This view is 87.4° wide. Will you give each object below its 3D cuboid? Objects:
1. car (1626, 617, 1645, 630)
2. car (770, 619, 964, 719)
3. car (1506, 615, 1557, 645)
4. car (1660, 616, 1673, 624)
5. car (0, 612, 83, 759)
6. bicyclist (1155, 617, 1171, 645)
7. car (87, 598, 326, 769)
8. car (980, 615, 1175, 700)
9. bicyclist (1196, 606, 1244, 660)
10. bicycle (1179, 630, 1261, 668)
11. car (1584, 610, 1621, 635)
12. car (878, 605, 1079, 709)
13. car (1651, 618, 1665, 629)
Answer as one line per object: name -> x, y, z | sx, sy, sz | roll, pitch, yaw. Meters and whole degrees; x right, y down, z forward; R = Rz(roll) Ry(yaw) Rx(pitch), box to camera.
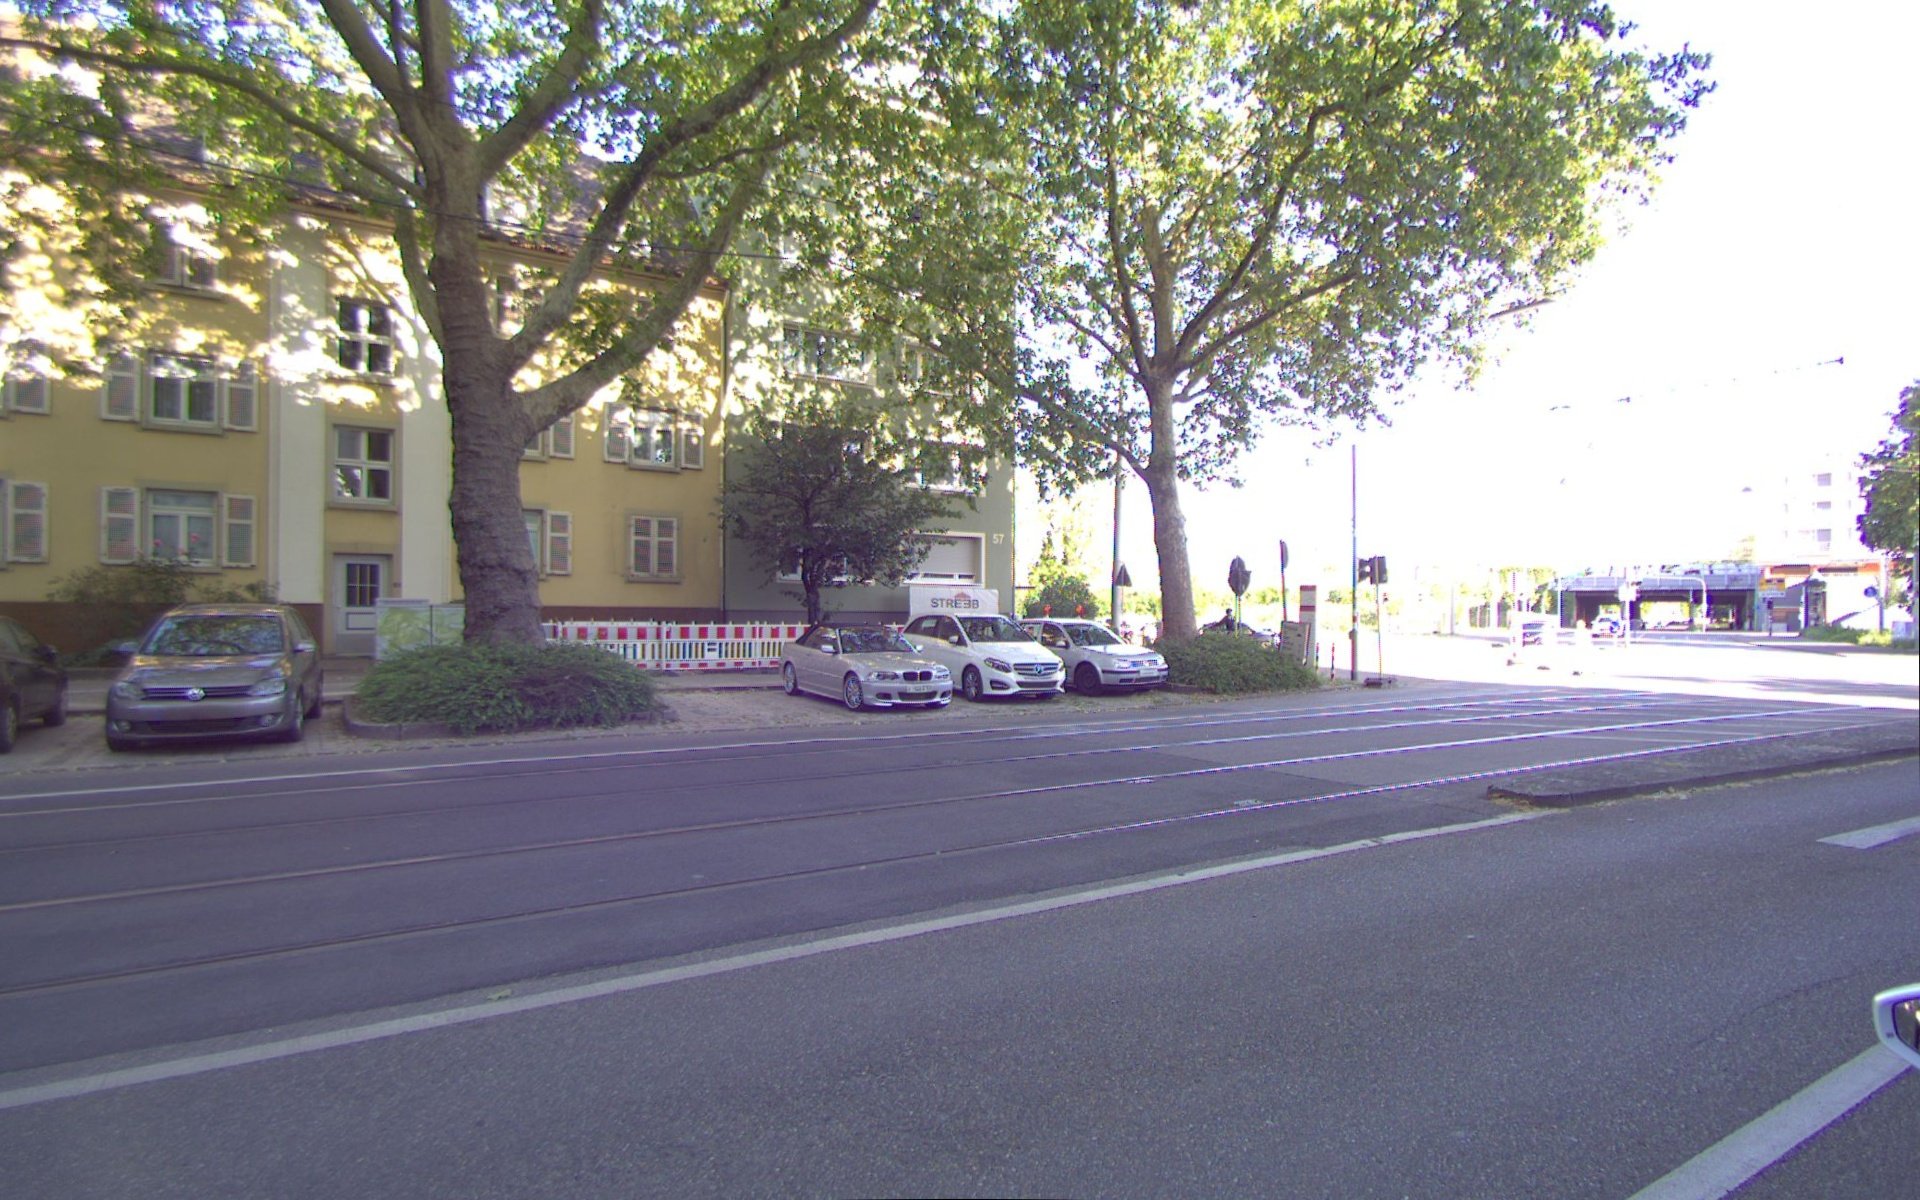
car -> 86.076, 2.991, 127.930 | 1.967, 1.623, 4.234 | 0, -1, 34
car -> -1.743, 1.092, 17.433 | 1.708, 1.386, 4.219 | 1, 0, -31
car -> 32.422, 1.682, 56.933 | 1.803, 1.539, 3.876 | 2, 1, 40
car -> 149.661, 4.178, 212.829 | 1.965, 1.739, 3.991 | 0, -1, 32
car -> -11.409, 0.878, 11.296 | 1.723, 1.448, 3.545 | 1, 0, -31
bicyclist -> 12.006, 1.813, 59.373 | 0.846, 1.616, 0.649 | 0, -1, 15
car -> -9.051, 0.857, 12.424 | 1.793, 1.627, 4.169 | 1, 1, -29
car -> 2.286, 1.107, 20.821 | 1.656, 1.448, 4.490 | 1, 0, -30
bicyclist -> 7.589, 0.962, 29.358 | 1.099, 1.540, 0.918 | 0, -1, 38
bicycle -> 7.584, 1.417, 29.368 | 2.163, 1.047, 0.831 | 0, -1, 38
car -> 48.377, 1.693, 75.687 | 2.181, 1.847, 4.138 | 0, -1, 31
car -> 0.207, 0.992, 19.476 | 1.777, 1.640, 4.587 | 1, 1, -30
car -> 130.530, 4.449, 187.826 | 1.966, 1.973, 4.488 | 0, -1, 32
